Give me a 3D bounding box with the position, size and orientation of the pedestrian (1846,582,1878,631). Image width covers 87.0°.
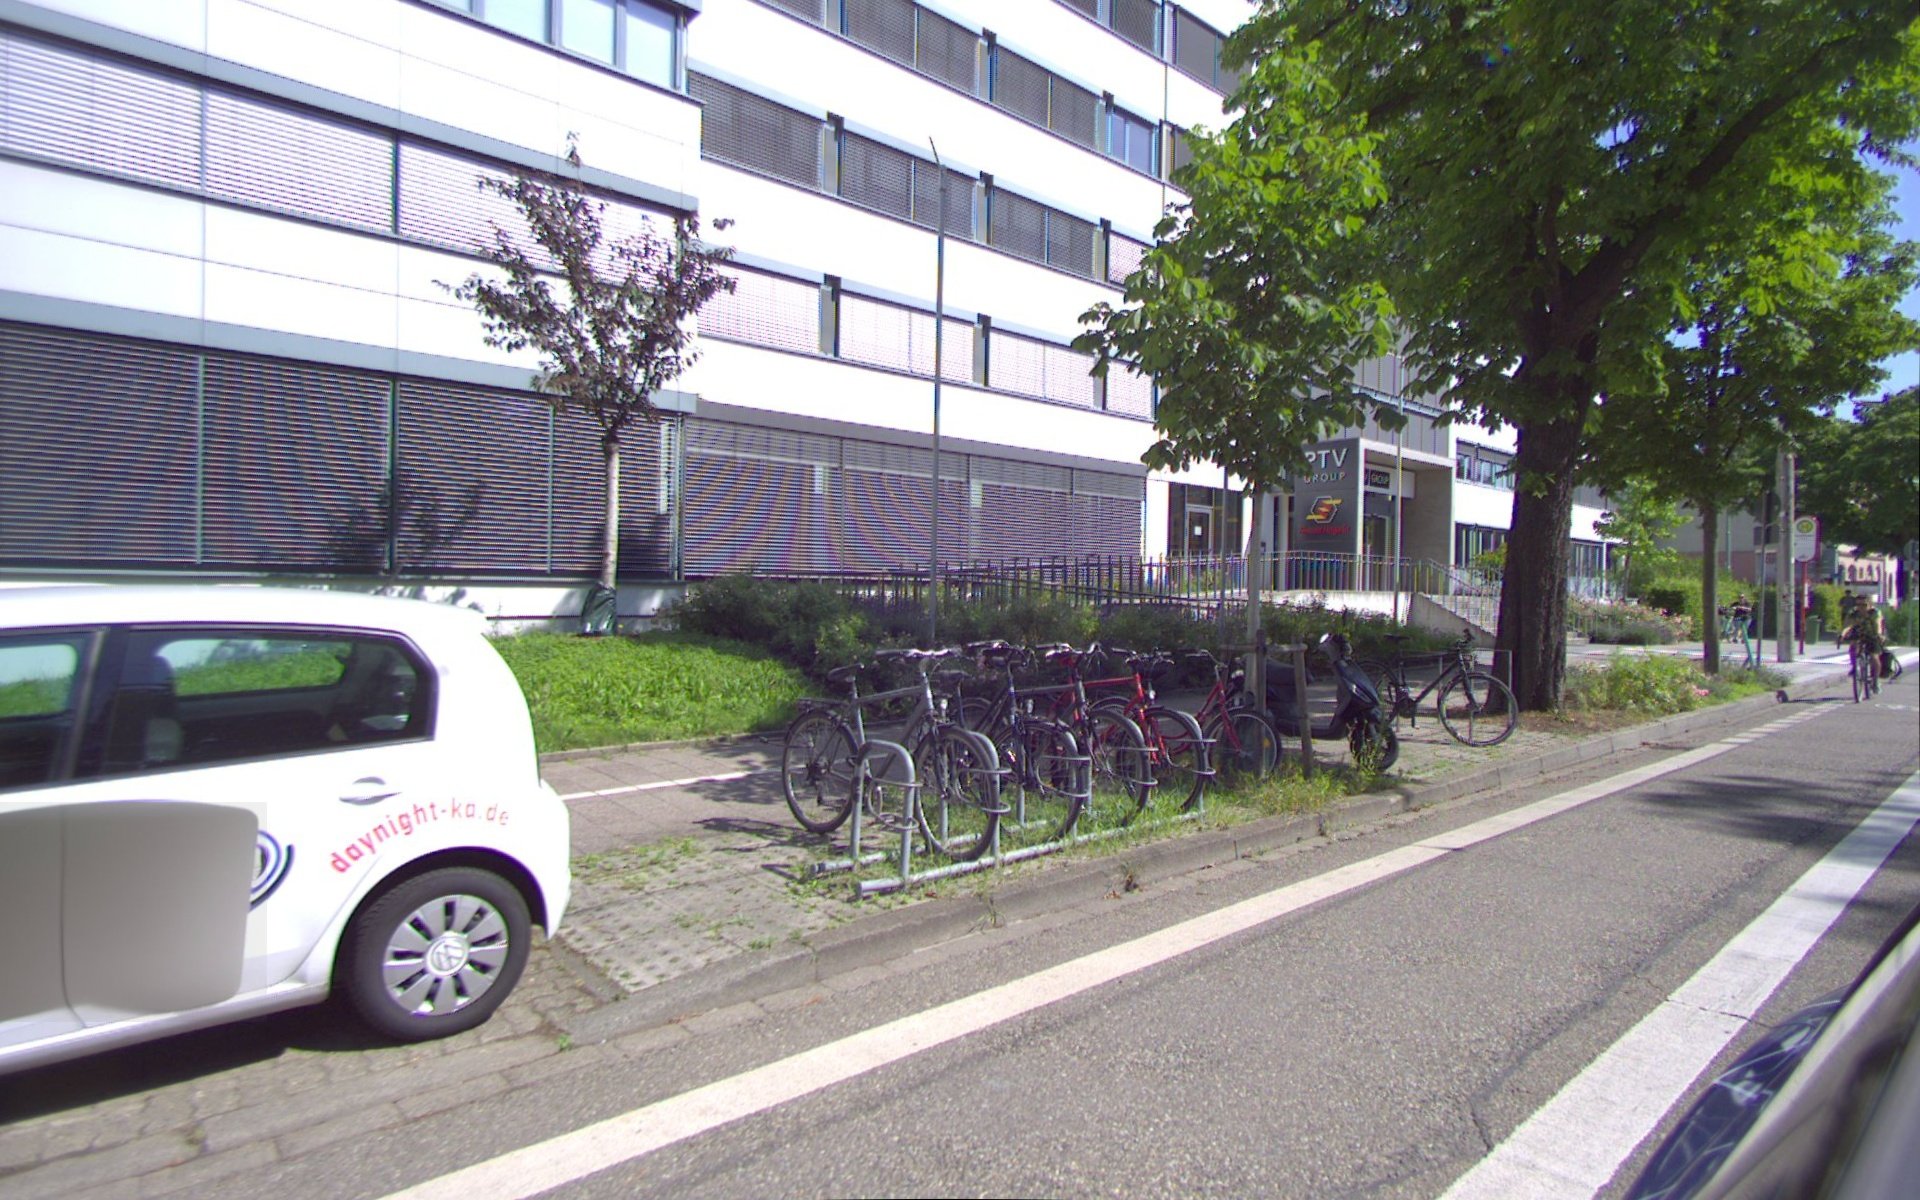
[{"bbox_3d":[34.459,0.237,38.647,0.889,1.841,1.057,1,0,43],"label":"pedestrian"}]

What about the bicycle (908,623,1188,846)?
[{"bbox_3d":[0.500,0.768,6.535,0.668,1.146,1.852,0,1,-41],"label":"bicycle"}]

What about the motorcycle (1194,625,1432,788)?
[{"bbox_3d":[2.811,0.793,8.210,0.647,1.099,1.727,0,1,-41],"label":"motorcycle"}]

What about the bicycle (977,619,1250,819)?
[{"bbox_3d":[0.985,0.722,6.890,0.714,1.099,1.796,0,1,-41],"label":"bicycle"}]

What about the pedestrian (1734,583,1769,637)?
[{"bbox_3d":[24.349,0.296,31.118,0.686,1.582,0.972,3,2,45],"label":"pedestrian"}]

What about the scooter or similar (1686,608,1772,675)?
[{"bbox_3d":[14.278,0.749,18.801,0.663,1.181,1.129,1,1,-38],"label":"scooter or similar"}]

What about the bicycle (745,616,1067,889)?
[{"bbox_3d":[-0.377,0.723,5.679,0.804,1.184,1.907,0,1,-41],"label":"bicycle"}]

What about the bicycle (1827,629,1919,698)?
[{"bbox_3d":[14.471,0.975,15.981,2.122,0.996,0.611,1,0,-33],"label":"bicycle"}]

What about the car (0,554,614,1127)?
[{"bbox_3d":[-3.140,0.610,3.154,3.566,1.490,1.633,0,1,-40],"label":"car"}]

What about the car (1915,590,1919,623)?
[{"bbox_3d":[61.740,0.455,63.422,4.820,2.038,2.089,1,1,-39],"label":"car"}]

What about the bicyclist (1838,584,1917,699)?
[{"bbox_3d":[14.461,0.626,15.954,0.969,1.746,0.718,1,0,-35],"label":"bicyclist"}]

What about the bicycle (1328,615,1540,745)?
[{"bbox_3d":[4.645,0.735,10.010,0.775,1.099,1.727,0,1,-41],"label":"bicycle"}]

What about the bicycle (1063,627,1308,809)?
[{"bbox_3d":[1.616,0.795,7.491,0.628,1.099,1.727,0,1,-41],"label":"bicycle"}]

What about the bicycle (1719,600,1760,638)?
[{"bbox_3d":[24.124,0.578,31.302,2.031,1.131,0.637,0,0,-42],"label":"bicycle"}]

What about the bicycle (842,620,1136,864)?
[{"bbox_3d":[0.104,0.744,6.094,0.674,1.156,1.876,0,1,-41],"label":"bicycle"}]
